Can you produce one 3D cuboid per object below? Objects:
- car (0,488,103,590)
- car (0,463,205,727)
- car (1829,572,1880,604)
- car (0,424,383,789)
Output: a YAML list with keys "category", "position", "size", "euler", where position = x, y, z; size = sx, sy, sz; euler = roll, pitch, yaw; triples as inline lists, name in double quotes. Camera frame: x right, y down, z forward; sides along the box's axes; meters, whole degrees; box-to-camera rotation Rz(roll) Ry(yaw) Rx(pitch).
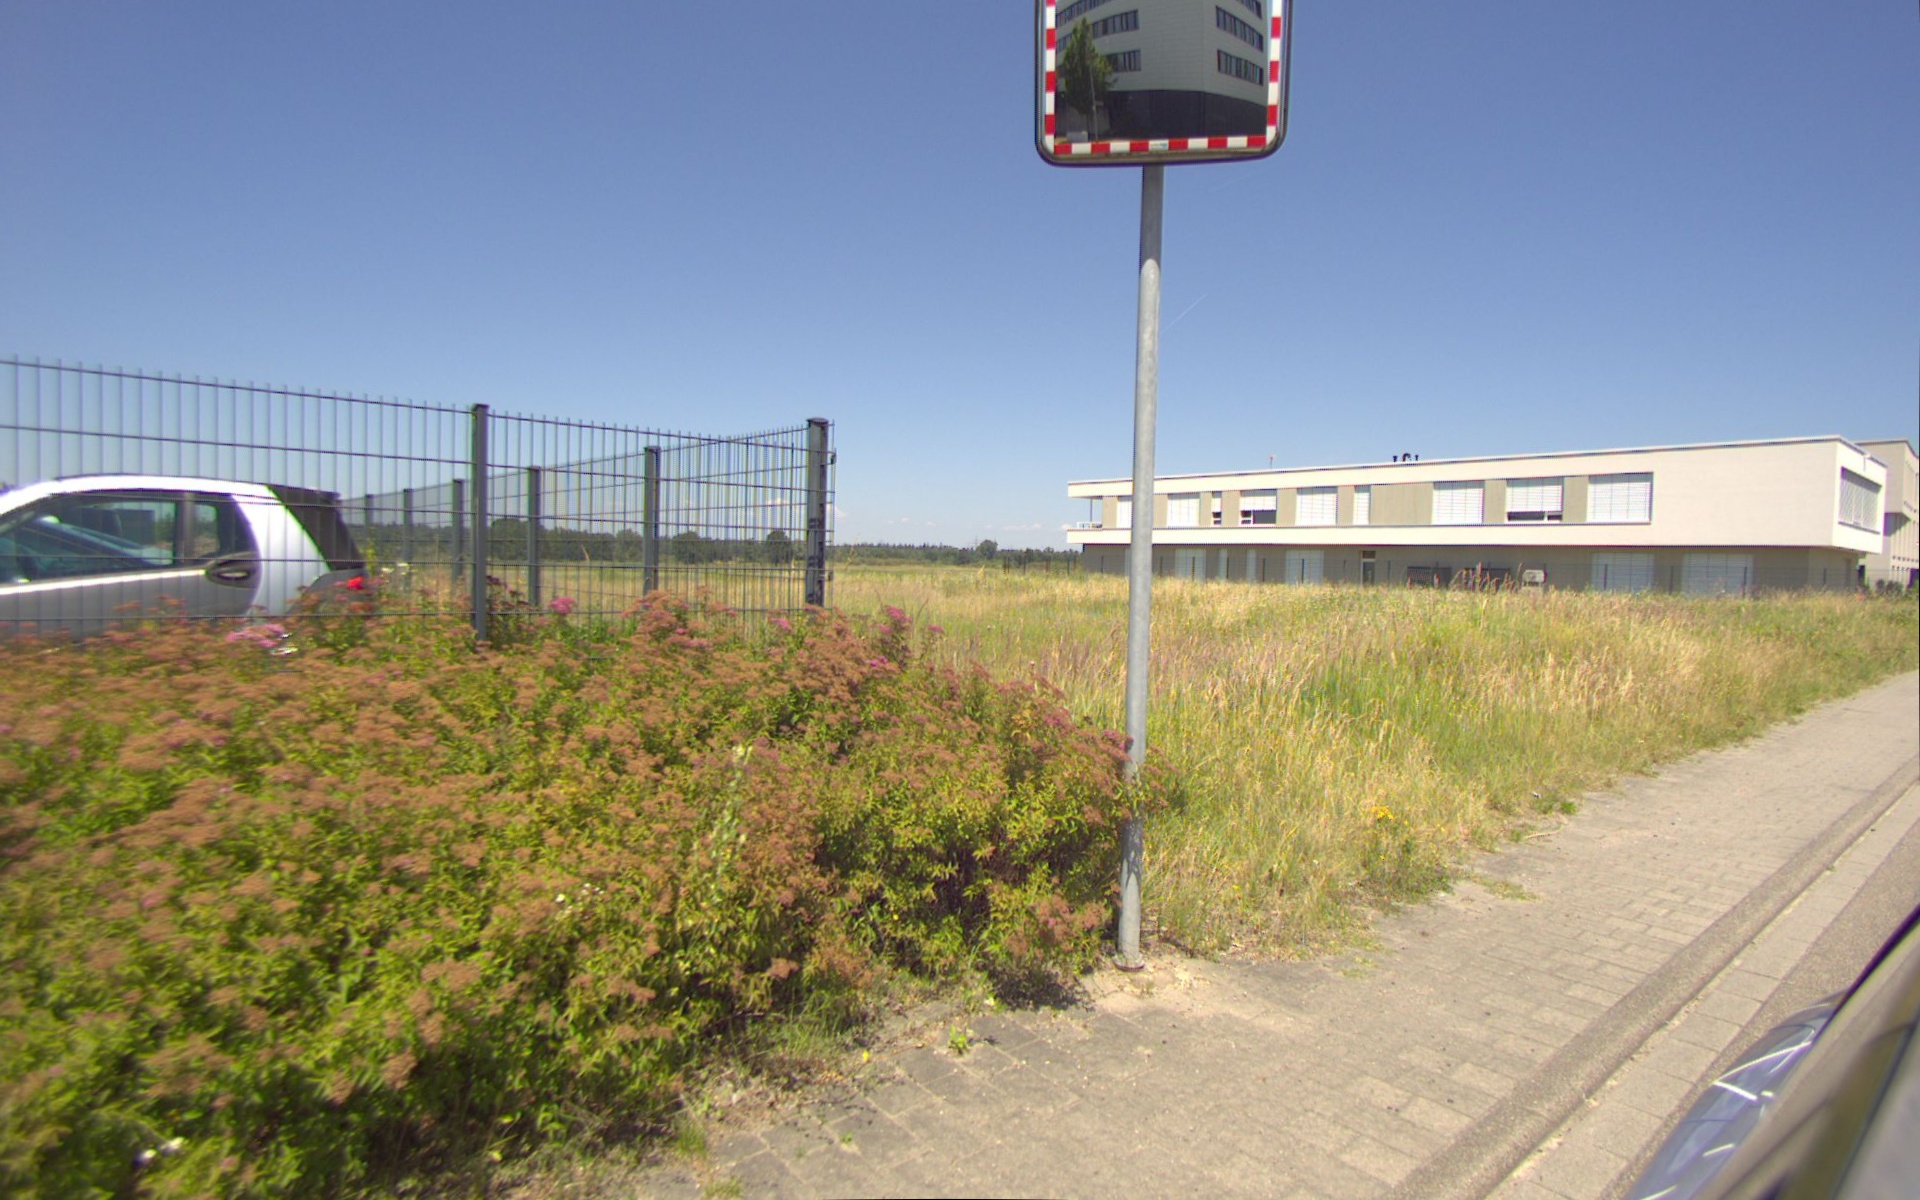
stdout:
- category: "car"
  position: [-18.690, -1.147, 18.880]
  size: [4.056, 1.869, 1.751]
  euler: [-2, 4, -42]
- category: "car"
  position: [-6.537, -0.047, 5.911]
  size: [3.275, 1.513, 1.517]
  euler: [-2, 4, -42]
- category: "car"
  position: [46.972, -0.629, 53.119]
  size: [4.010, 1.577, 1.670]
  euler: [0, 2, -44]
- category: "car"
  position: [-4.538, -0.012, 5.083]
  size: [2.616, 1.593, 1.470]
  euler: [-2, 4, -41]
